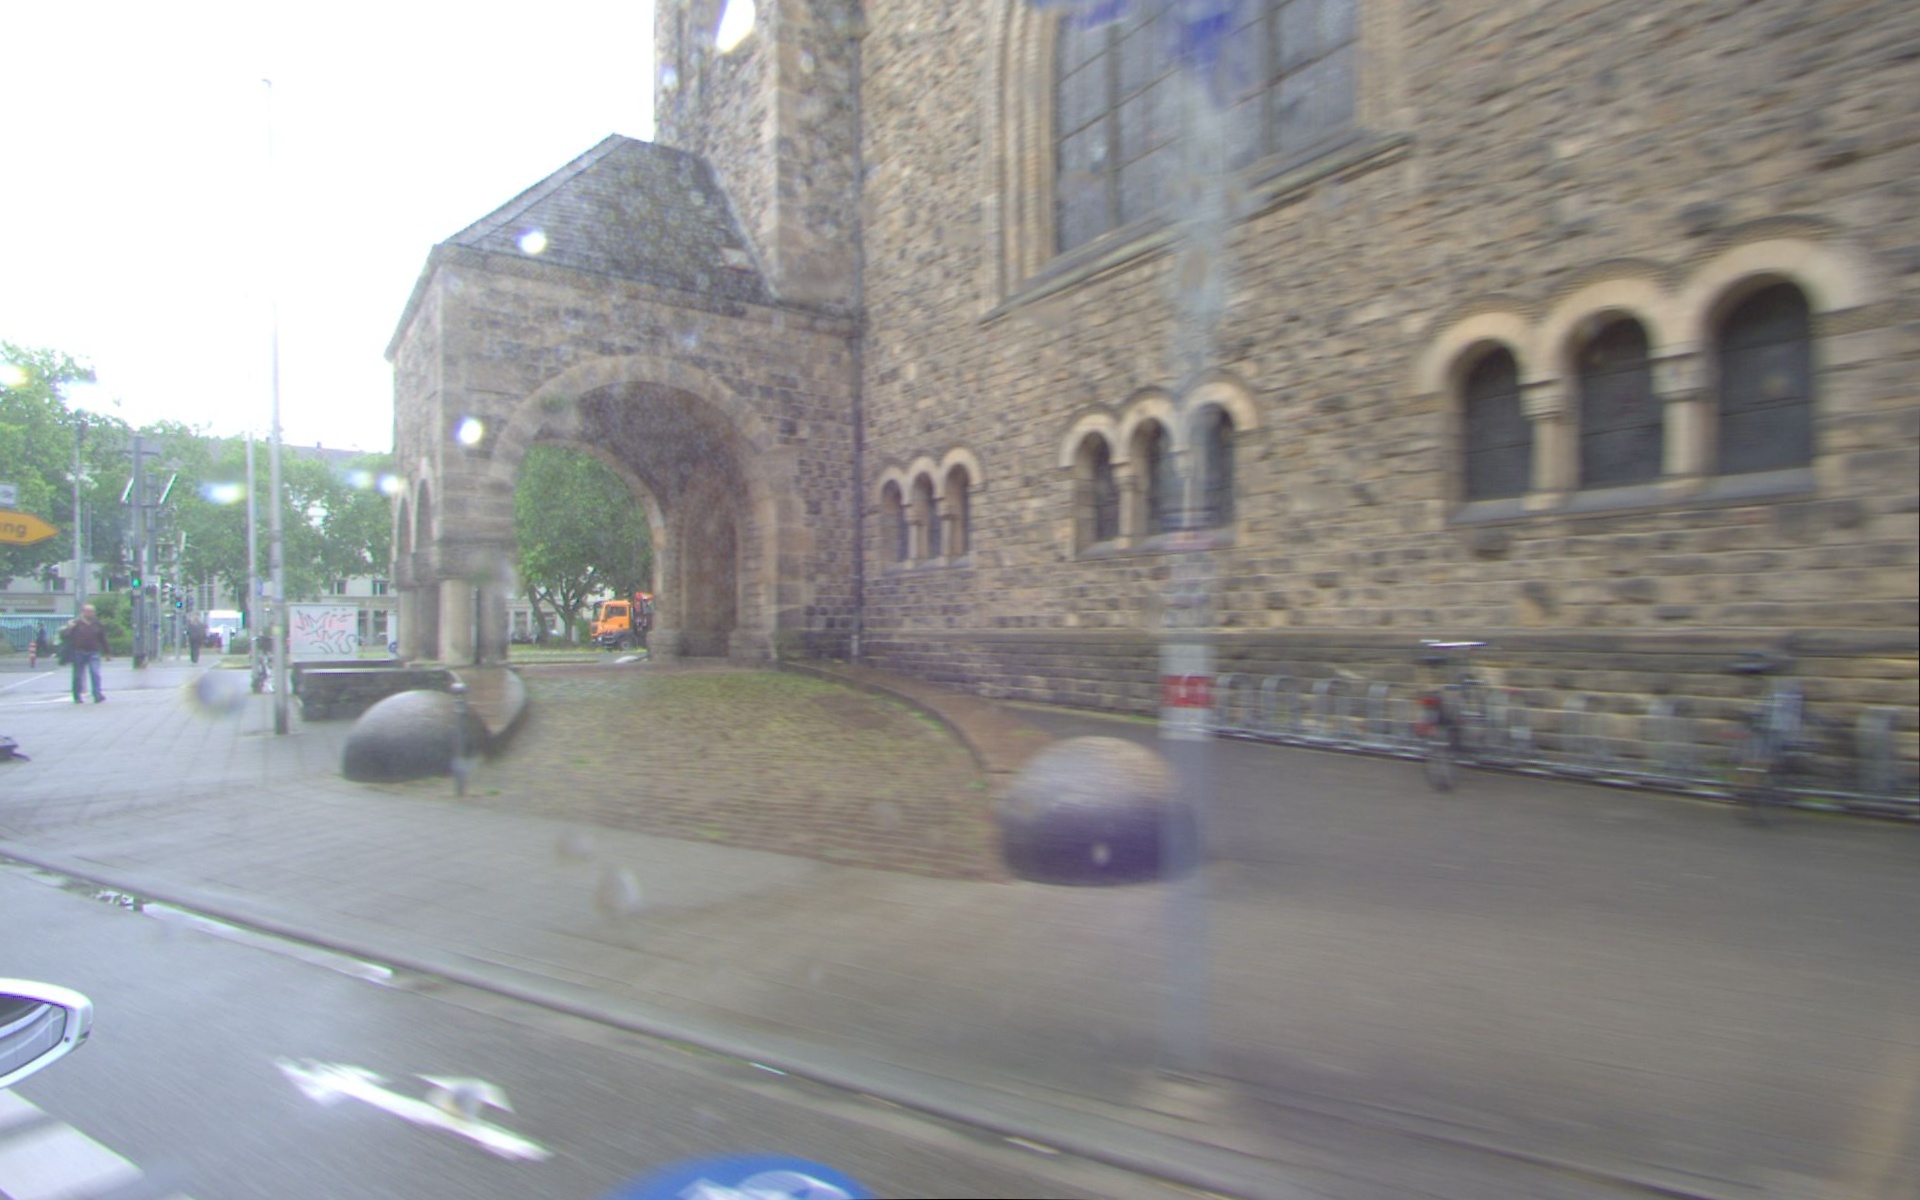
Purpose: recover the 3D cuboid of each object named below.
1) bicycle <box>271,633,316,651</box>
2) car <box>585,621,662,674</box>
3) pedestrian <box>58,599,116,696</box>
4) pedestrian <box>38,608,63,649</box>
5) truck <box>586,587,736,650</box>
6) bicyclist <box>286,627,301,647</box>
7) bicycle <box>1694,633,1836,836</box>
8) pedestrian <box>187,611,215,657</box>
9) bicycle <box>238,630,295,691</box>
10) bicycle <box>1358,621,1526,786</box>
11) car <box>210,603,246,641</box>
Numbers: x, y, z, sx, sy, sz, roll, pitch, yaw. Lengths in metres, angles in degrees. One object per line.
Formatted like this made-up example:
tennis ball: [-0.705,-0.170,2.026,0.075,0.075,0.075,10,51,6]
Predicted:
bicycle: [-34.681,2.195,52.116,1.948,0.923,0.556,1,-1,-35]
car: [-10.101,1.372,29.941,1.389,1.498,3.200,0,-1,-34]
pedestrian: [-16.535,0.885,18.954,0.780,1.782,0.936,-1,0,-44]
pedestrian: [-45.216,1.405,49.793,0.797,2.040,0.586,0,0,-32]
truck: [-17.859,1.105,60.125,8.331,3.570,2.361,1,-1,-35]
bicyclist: [-34.685,1.908,52.117,0.672,1.039,0.556,0,-1,-35]
bicycle: [5.421,0.819,6.706,0.556,1.126,1.697,-1,1,45]
pedestrian: [-28.350,1.267,37.404,0.775,1.667,0.650,0,0,-35]
bicycle: [-13.992,1.196,20.180,2.048,1.169,0.327,-1,0,37]
bicycle: [3.975,0.766,8.173,0.684,1.120,1.973,-1,1,42]
car: [-51.417,1.560,70.418,1.888,2.588,4.756,0,-1,-34]
